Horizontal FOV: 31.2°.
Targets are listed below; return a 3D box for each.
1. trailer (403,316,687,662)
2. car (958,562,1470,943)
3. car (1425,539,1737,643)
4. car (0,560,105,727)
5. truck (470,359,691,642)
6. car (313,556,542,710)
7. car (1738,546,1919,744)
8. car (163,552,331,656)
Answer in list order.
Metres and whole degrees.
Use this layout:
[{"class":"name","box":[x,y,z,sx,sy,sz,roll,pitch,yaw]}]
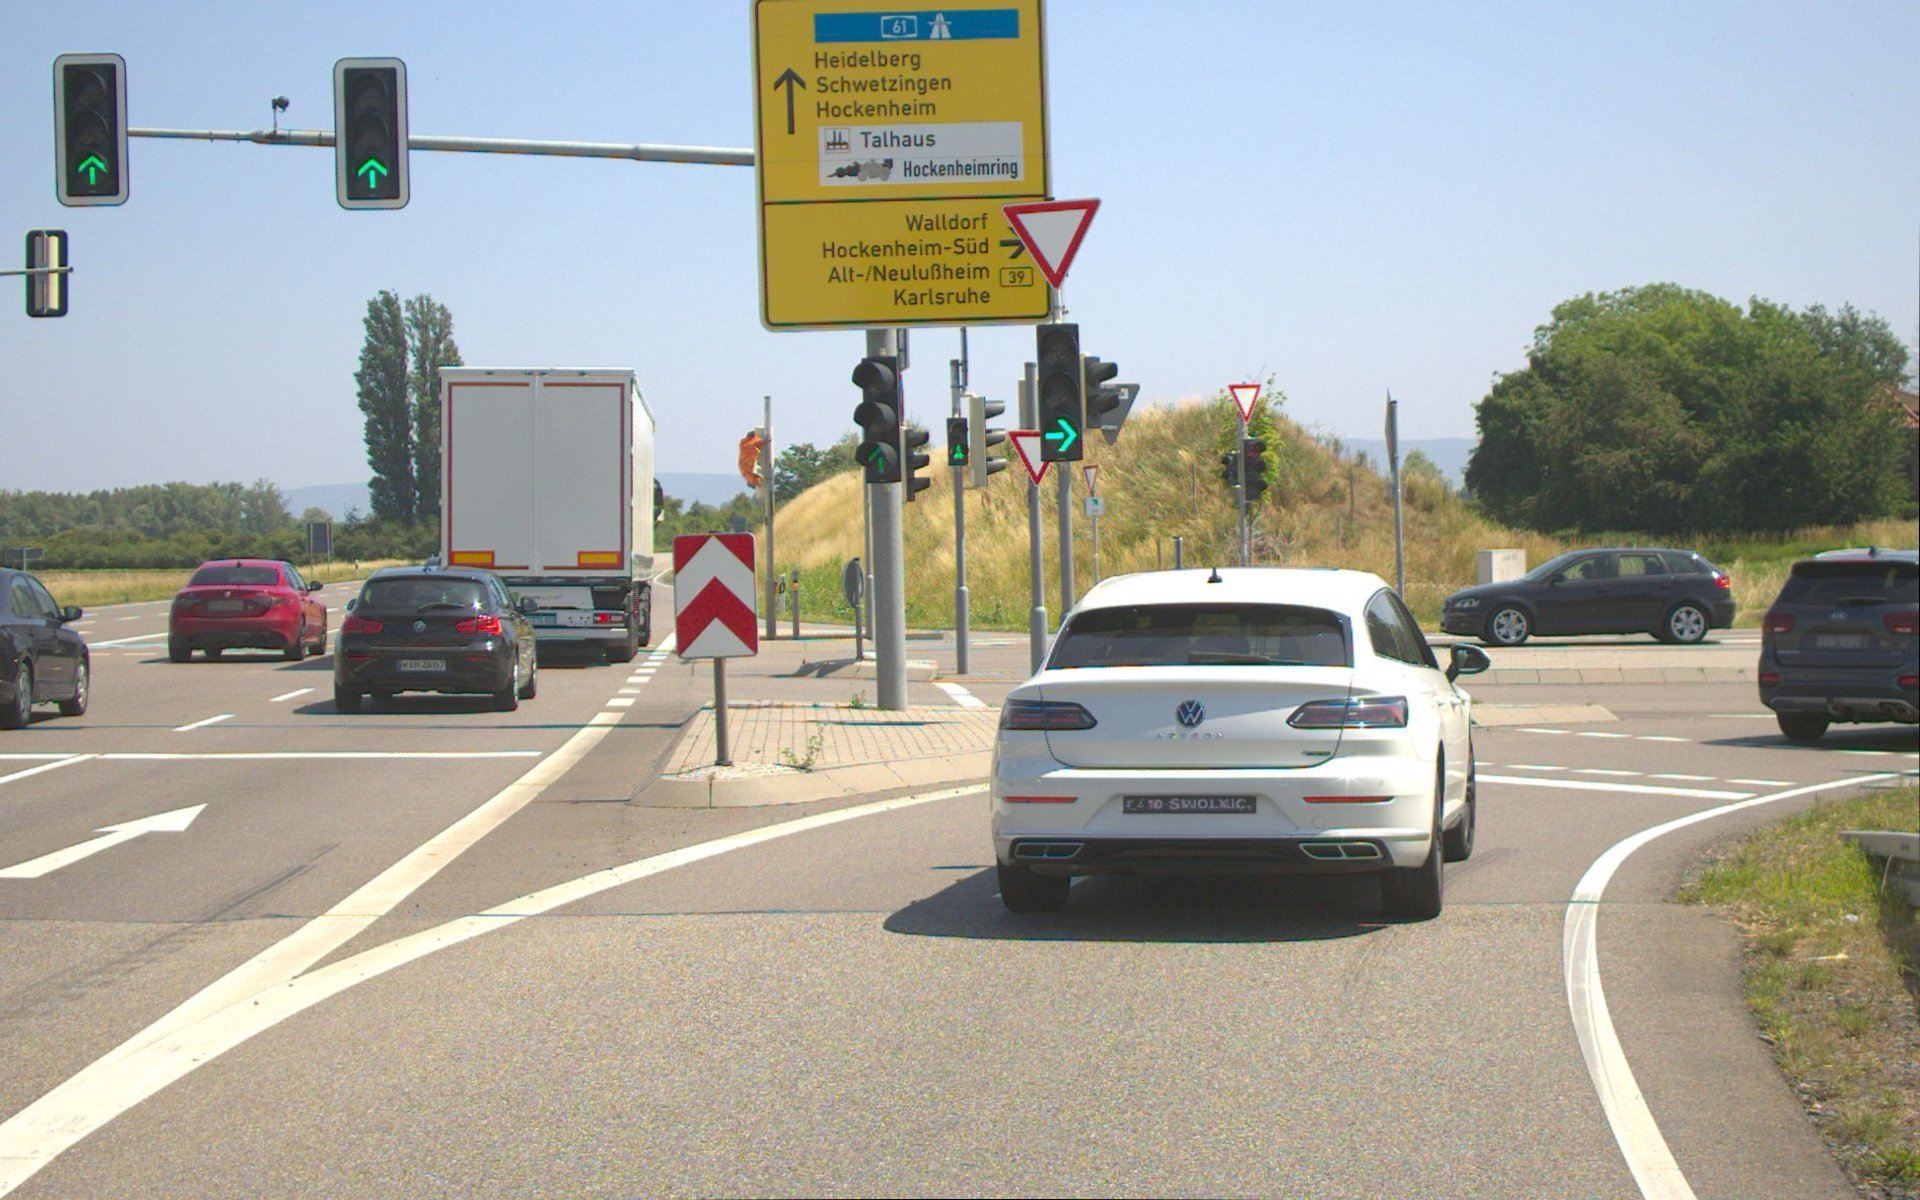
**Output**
[{"class":"trailer","box":[-5.969,-1.540,51.660,3.380,4.527,12.873,0,1,-3]},{"class":"car","box":[1.290,0.556,15.327,1.848,1.428,4.606,0,0,10]},{"class":"car","box":[9.072,-0.144,50.447,4.260,1.364,1.776,-1,2,1]},{"class":"car","box":[-9.030,0.349,31.136,1.674,1.407,4.467,0,0,-3]},{"class":"truck","box":[-6.354,-1.645,58.507,3.380,4.527,6.373,0,1,-3]},{"class":"car","box":[-5.333,0.290,34.904,1.784,1.426,4.381,1,1,-2]},{"class":"car","box":[8.684,0.350,29.992,1.939,1.611,4.368,0,0,40]},{"class":"car","box":[-10.328,0.025,50.094,1.749,1.416,4.567,1,1,-3]}]
